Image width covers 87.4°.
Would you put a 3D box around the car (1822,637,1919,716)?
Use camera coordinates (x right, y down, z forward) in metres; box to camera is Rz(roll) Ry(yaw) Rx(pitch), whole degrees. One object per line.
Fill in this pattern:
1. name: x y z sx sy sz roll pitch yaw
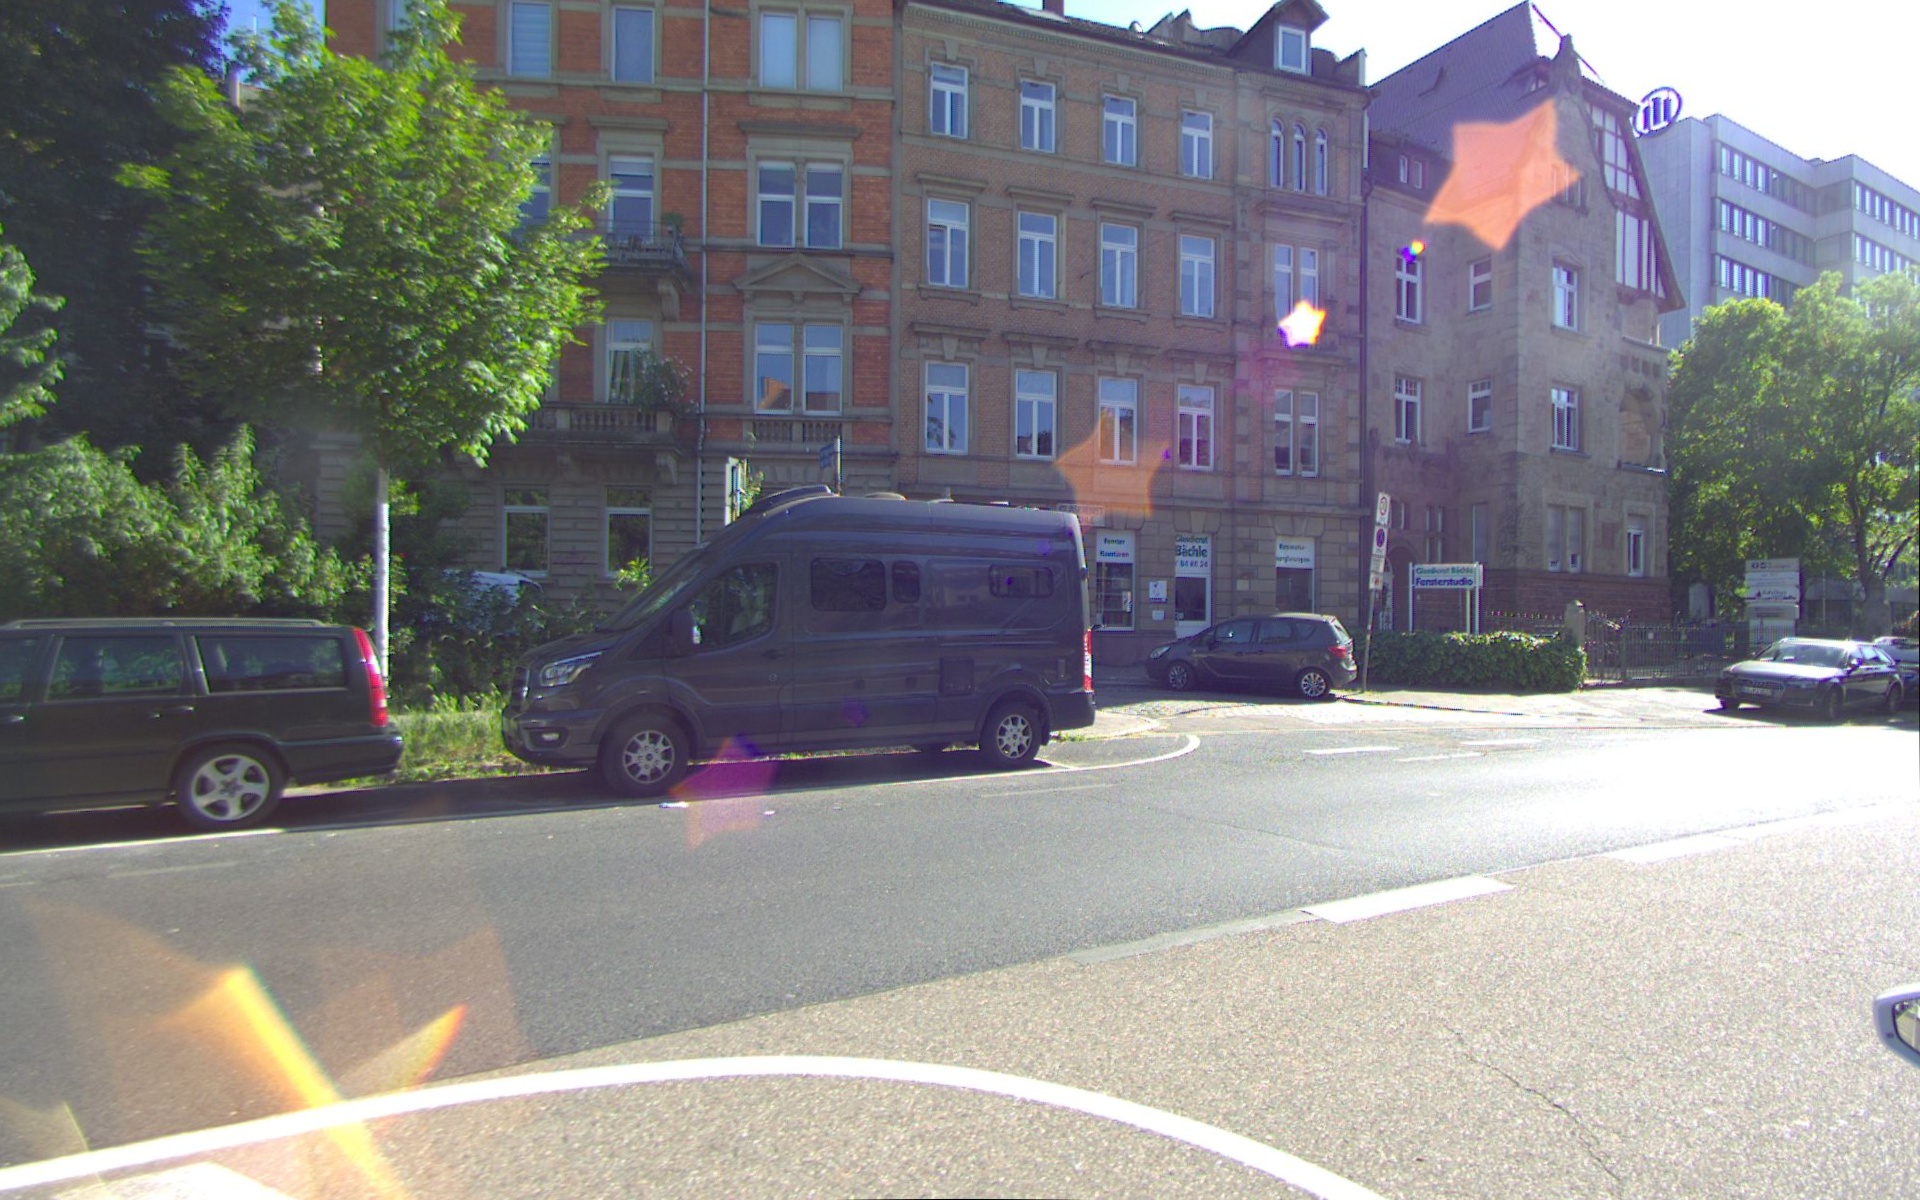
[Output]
1. car: 21.571 1.675 22.861 4.659 1.514 1.843 1 2 -35

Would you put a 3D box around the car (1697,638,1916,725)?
1. car: 17.133 1.569 20.286 4.663 1.447 1.847 1 2 -30

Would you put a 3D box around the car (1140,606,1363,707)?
1. car: 6.009 1.081 20.739 4.067 1.693 1.997 2 2 27

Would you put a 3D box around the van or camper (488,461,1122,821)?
1. van or camper: -1.388 0.387 10.244 6.017 2.775 2.205 1 -1 -31

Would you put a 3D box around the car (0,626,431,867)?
1. car: -6.305 0.942 6.915 4.611 1.475 1.685 1 -3 -32

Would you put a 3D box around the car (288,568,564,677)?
1. car: -10.422 0.491 19.919 4.368 1.938 1.864 2 -3 -6
